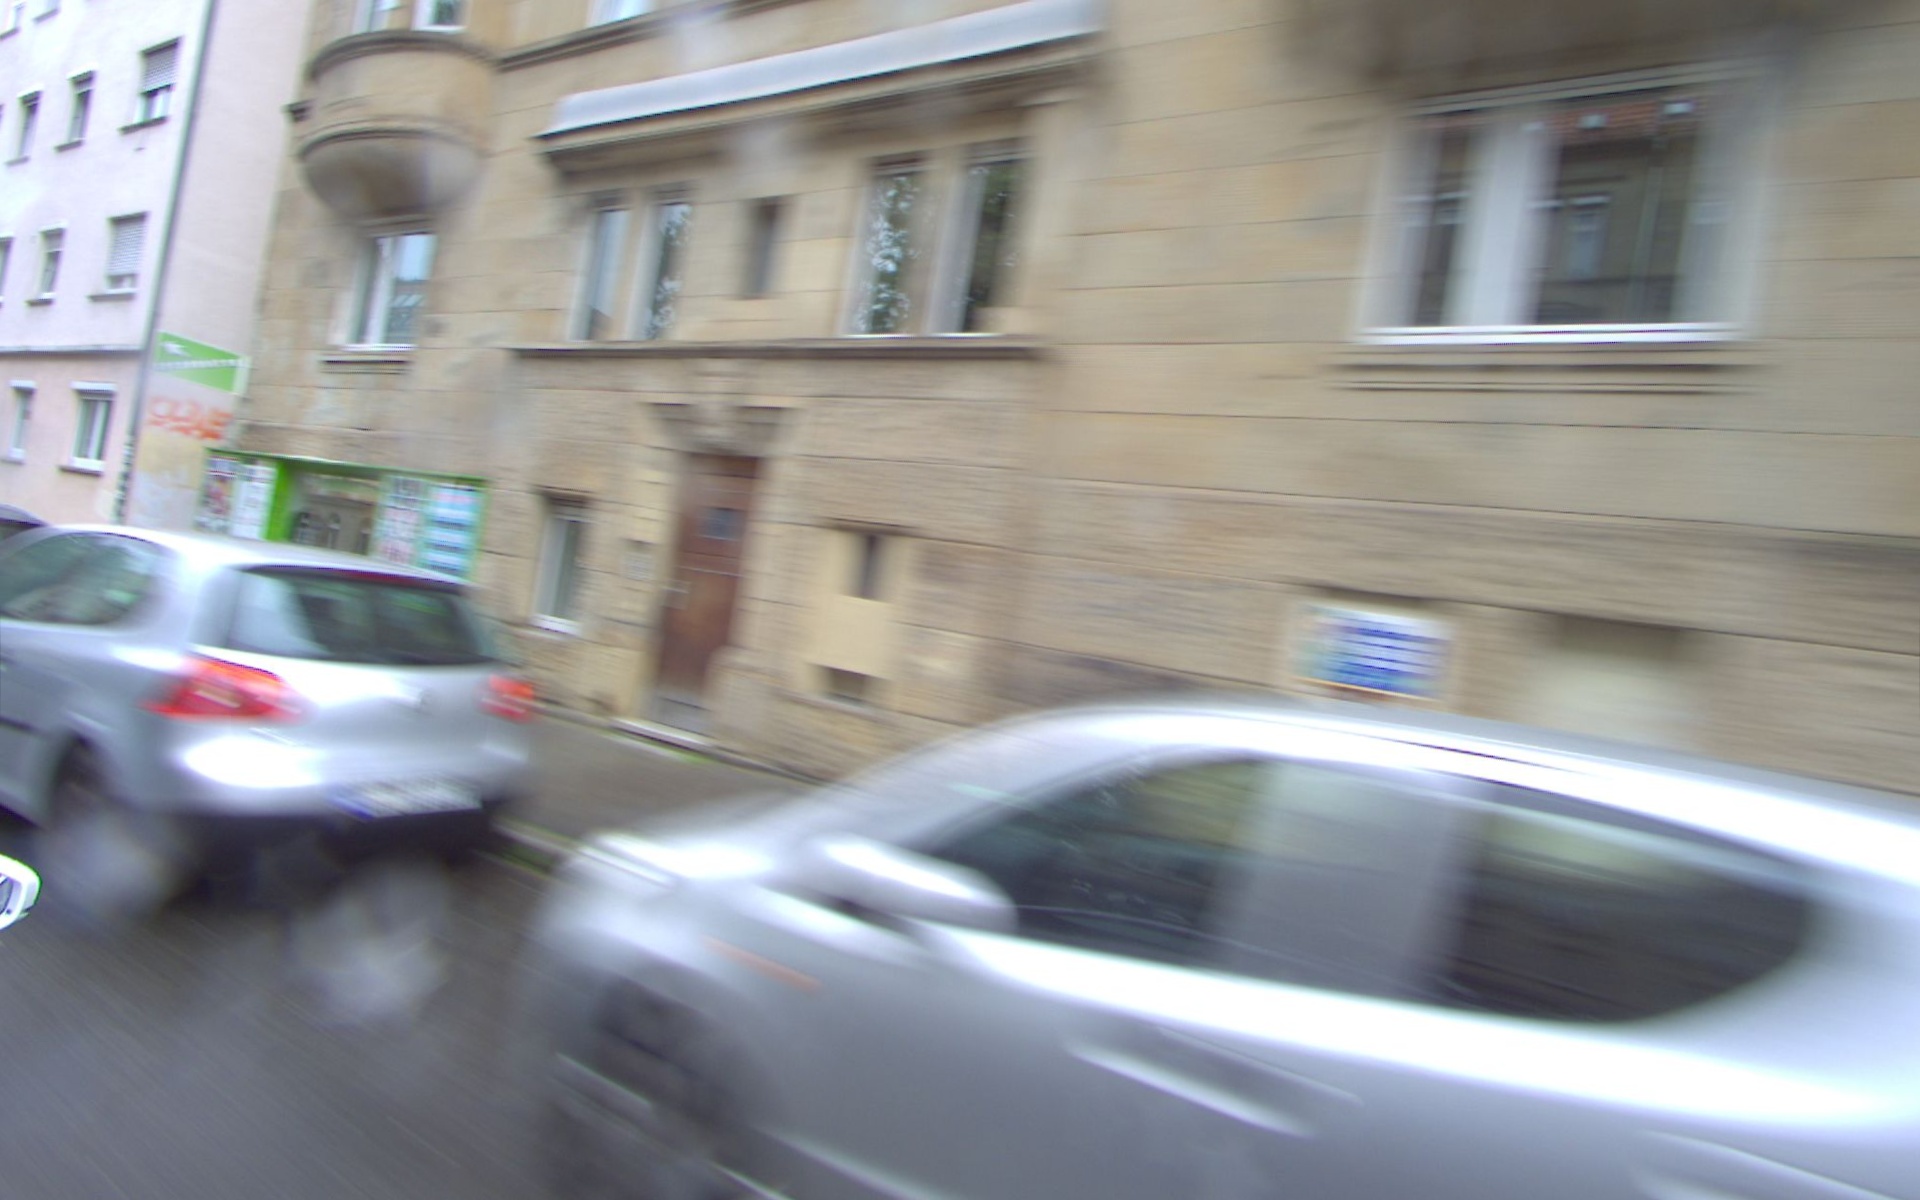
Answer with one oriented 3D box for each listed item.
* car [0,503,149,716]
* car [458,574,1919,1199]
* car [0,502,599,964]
[{"bbox_3d":[-8.374,-0.147,7.835,4.238,1.426,1.673,7,-1,30],"label":"car"},{"bbox_3d":[0.771,0.912,2.344,3.621,1.451,1.594,7,-1,29],"label":"car"},{"bbox_3d":[-3.891,0.370,5.072,3.889,1.451,1.671,7,-1,30],"label":"car"}]
